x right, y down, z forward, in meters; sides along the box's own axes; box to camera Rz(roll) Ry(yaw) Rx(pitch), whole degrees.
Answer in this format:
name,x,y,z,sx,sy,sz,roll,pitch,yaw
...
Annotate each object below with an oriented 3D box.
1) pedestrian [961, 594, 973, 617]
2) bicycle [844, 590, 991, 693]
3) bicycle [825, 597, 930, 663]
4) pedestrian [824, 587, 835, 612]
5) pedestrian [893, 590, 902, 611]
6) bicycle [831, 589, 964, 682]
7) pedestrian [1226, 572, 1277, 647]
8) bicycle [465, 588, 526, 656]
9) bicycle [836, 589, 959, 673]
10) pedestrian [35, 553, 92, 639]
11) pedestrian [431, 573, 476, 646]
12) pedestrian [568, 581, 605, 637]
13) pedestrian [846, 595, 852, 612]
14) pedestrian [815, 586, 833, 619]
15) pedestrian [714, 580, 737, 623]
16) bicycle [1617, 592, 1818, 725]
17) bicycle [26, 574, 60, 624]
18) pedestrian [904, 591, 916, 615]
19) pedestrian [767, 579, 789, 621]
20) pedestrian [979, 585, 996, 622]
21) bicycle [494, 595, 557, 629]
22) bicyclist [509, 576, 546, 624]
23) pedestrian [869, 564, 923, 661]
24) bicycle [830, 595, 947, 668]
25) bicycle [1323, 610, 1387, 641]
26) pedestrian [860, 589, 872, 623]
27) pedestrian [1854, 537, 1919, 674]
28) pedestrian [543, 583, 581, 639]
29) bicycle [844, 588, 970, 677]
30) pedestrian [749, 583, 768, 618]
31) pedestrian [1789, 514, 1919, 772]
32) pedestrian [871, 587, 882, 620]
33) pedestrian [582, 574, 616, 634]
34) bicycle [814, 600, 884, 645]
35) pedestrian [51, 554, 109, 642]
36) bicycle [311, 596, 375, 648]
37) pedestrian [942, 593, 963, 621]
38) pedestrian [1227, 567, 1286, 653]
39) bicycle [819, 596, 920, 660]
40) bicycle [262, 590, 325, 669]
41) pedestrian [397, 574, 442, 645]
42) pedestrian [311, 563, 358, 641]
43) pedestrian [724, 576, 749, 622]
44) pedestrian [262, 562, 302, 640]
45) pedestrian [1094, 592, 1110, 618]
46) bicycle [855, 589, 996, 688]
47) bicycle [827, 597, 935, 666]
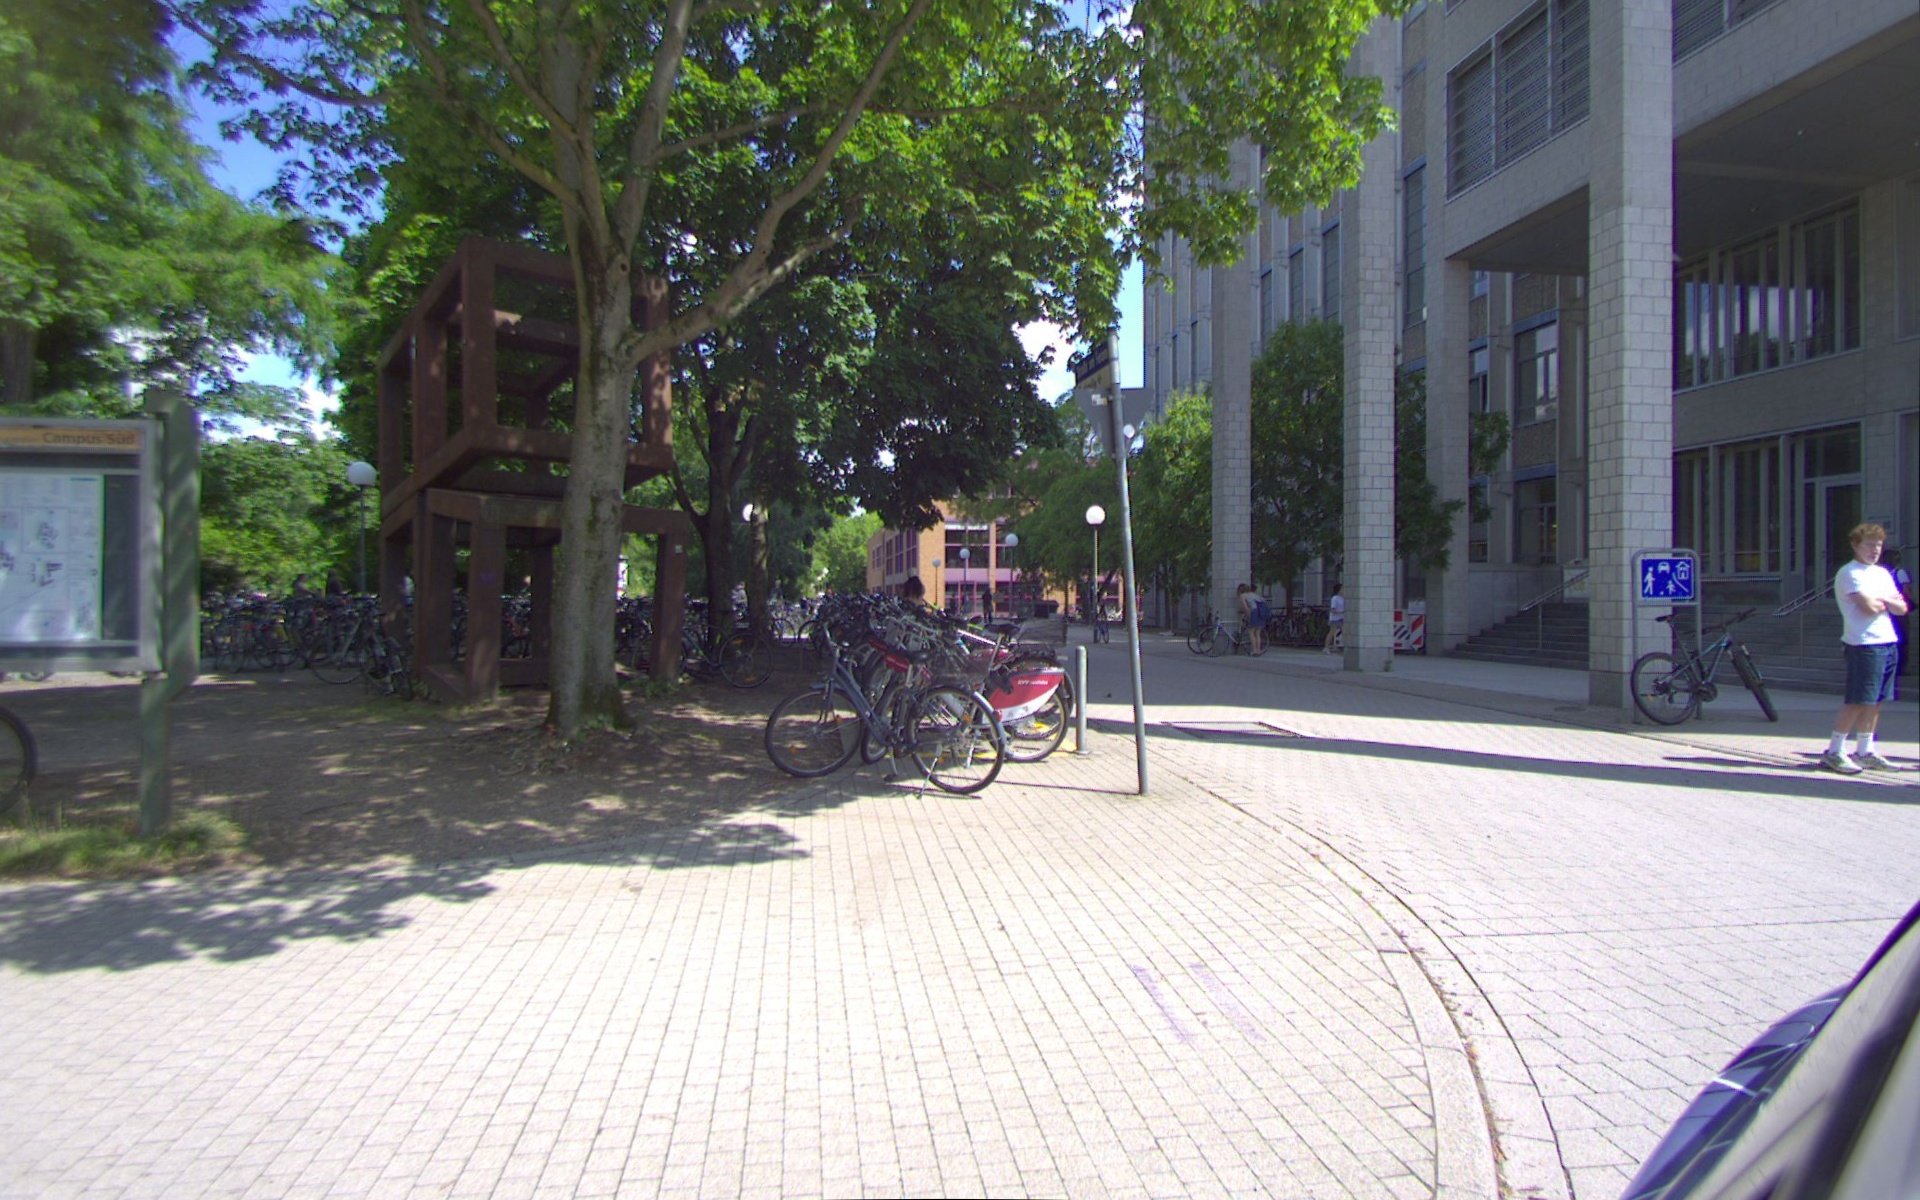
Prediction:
name,x,y,z,sx,sy,sz,roll,pitch,yaw
pedestrian,0.472,0.378,68.755,0.677,1.530,0.516,0,2,-10
bicycle,-0.505,0.477,11.865,1.663,1.139,0.482,1,1,-3
bicycle,-1.367,0.502,16.747,1.653,1.061,0.618,1,-3,-14
pedestrian,-8.313,-0.030,64.450,0.677,1.530,0.516,0,2,-10
pedestrian,-5.499,0.005,89.080,0.729,1.785,0.977,0,3,-10
bicycle,-0.812,0.451,13.180,1.663,1.139,0.628,1,1,-3
pedestrian,7.079,0.221,24.602,0.734,1.762,0.939,-1,-1,-27
bicycle,-8.414,0.372,18.287,0.429,1.185,1.840,0,0,-44
bicycle,-0.900,0.452,14.577,1.660,1.165,0.629,1,-3,-17
pedestrian,-19.156,-0.098,21.627,0.738,1.797,0.713,0,0,29
pedestrian,-12.815,0.233,25.619,0.734,1.797,0.717,0,0,15
pedestrian,-10.767,0.252,29.188,0.739,1.589,0.712,0,0,33
pedestrian,-11.821,0.349,107.571,0.554,1.785,0.805,1,2,-3
pedestrian,-6.558,0.127,48.754,0.688,1.530,0.508,3,3,38
pedestrian,-8.797,0.065,37.967,0.730,1.589,0.721,0,0,-1
bicycle,7.731,0.573,10.346,1.792,1.257,0.532,-1,0,-10
bicycle,-20.935,-0.037,23.098,1.606,1.107,0.471,1,2,44
pedestrian,-3.852,0.242,77.950,0.729,1.785,0.977,0,3,-10
pedestrian,-7.050,0.006,39.234,0.730,1.589,0.721,0,0,-1
pedestrian,1.390,0.159,50.778,0.731,1.785,0.973,1,3,8
bicycle,-13.509,0.352,31.504,0.583,0.942,1.729,3,4,38
bicyclist,-13.488,-0.013,31.579,0.741,1.465,0.792,0,0,38
pedestrian,-1.167,0.228,18.348,0.925,1.725,0.429,0,-2,-13
bicycle,-1.073,0.477,15.222,1.660,1.061,0.569,1,-3,-16
bicycle,10.798,0.684,27.746,0.630,0.769,1.994,1,1,-12
pedestrian,-4.365,0.261,46.944,0.504,1.530,0.693,1,2,-7
pedestrian,12.814,0.062,13.815,0.673,1.753,0.690,-10,5,-33
pedestrian,-11.644,0.311,29.604,0.738,1.589,0.714,0,0,28
bicycle,-0.742,0.440,13.911,1.662,1.165,0.629,1,1,-7
pedestrian,-9.107,0.010,45.762,0.688,1.530,0.508,3,3,38
pedestrian,7.134,0.313,7.907,0.672,1.915,0.688,-1,-1,-12
pedestrian,-4.588,0.187,55.519,0.553,1.785,0.806,0,2,-8
pedestrian,-11.219,0.115,31.425,0.740,1.812,0.711,0,0,37
bicycle,-2.752,0.571,25.058,1.653,1.098,0.479,1,-3,-13
pedestrian,-18.414,-0.052,21.187,0.738,1.797,0.713,0,0,29
bicycle,-12.552,0.424,20.568,1.894,0.991,0.472,1,1,38
pedestrian,-0.420,0.396,58.633,0.723,1.530,1.195,2,3,28
pedestrian,6.252,0.202,21.356,0.734,1.762,0.939,0,-1,-28
bicycle,-1.558,0.492,17.446,1.653,1.061,0.618,1,-3,-14
bicycle,-10.572,0.433,16.027,1.838,1.185,0.407,0,0,43
pedestrian,-13.858,0.238,25.959,0.734,1.797,0.717,0,0,17
pedestrian,-14.789,0.041,23.927,0.798,1.797,0.853,0,0,-41
pedestrian,-7.772,-0.044,35.188,0.730,1.589,0.721,0,0,-1
pedestrian,-15.956,0.010,23.823,0.708,1.797,0.744,0,0,-40
pedestrian,10.061,0.353,71.648,0.962,1.785,0.740,2,3,17
bicycle,-0.429,0.461,12.389,1.663,1.139,0.566,1,1,-3
bicycle,-1.238,0.503,16.019,1.664,1.061,0.617,0,-3,-1
